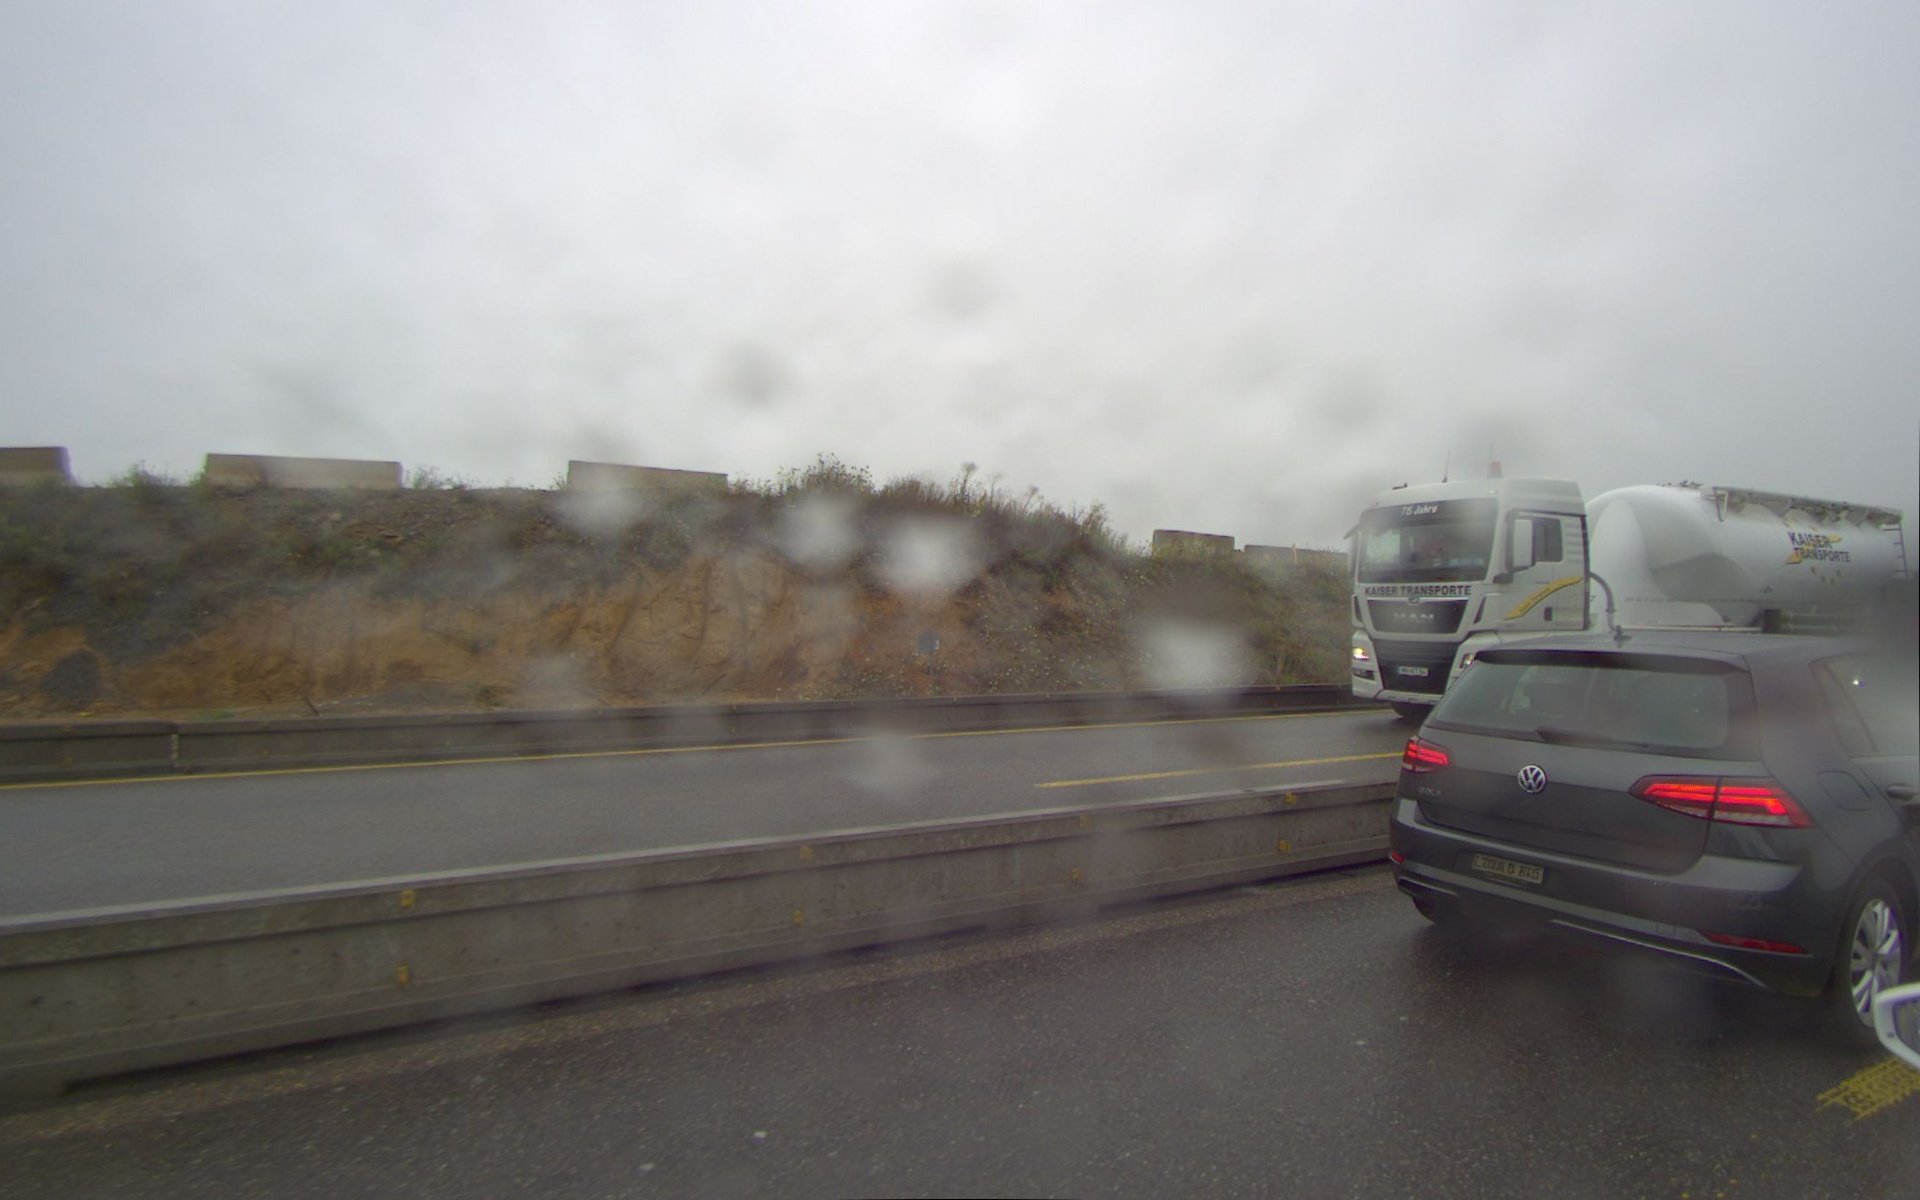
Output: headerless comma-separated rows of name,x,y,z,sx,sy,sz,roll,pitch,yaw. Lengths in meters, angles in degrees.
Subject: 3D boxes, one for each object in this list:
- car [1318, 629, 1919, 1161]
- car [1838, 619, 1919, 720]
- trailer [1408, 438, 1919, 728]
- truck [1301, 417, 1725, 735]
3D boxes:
car,3.798,0.933,4.706,4.317,1.526,1.607,2,-3,-30
car,15.995,1.071,15.825,4.893,1.458,1.795,2,-3,-30
trailer,13.211,-0.073,18.148,11.397,4.016,3.241,2,-2,-29
truck,8.564,-0.209,15.535,5.811,4.008,3.217,2,-1,-30
